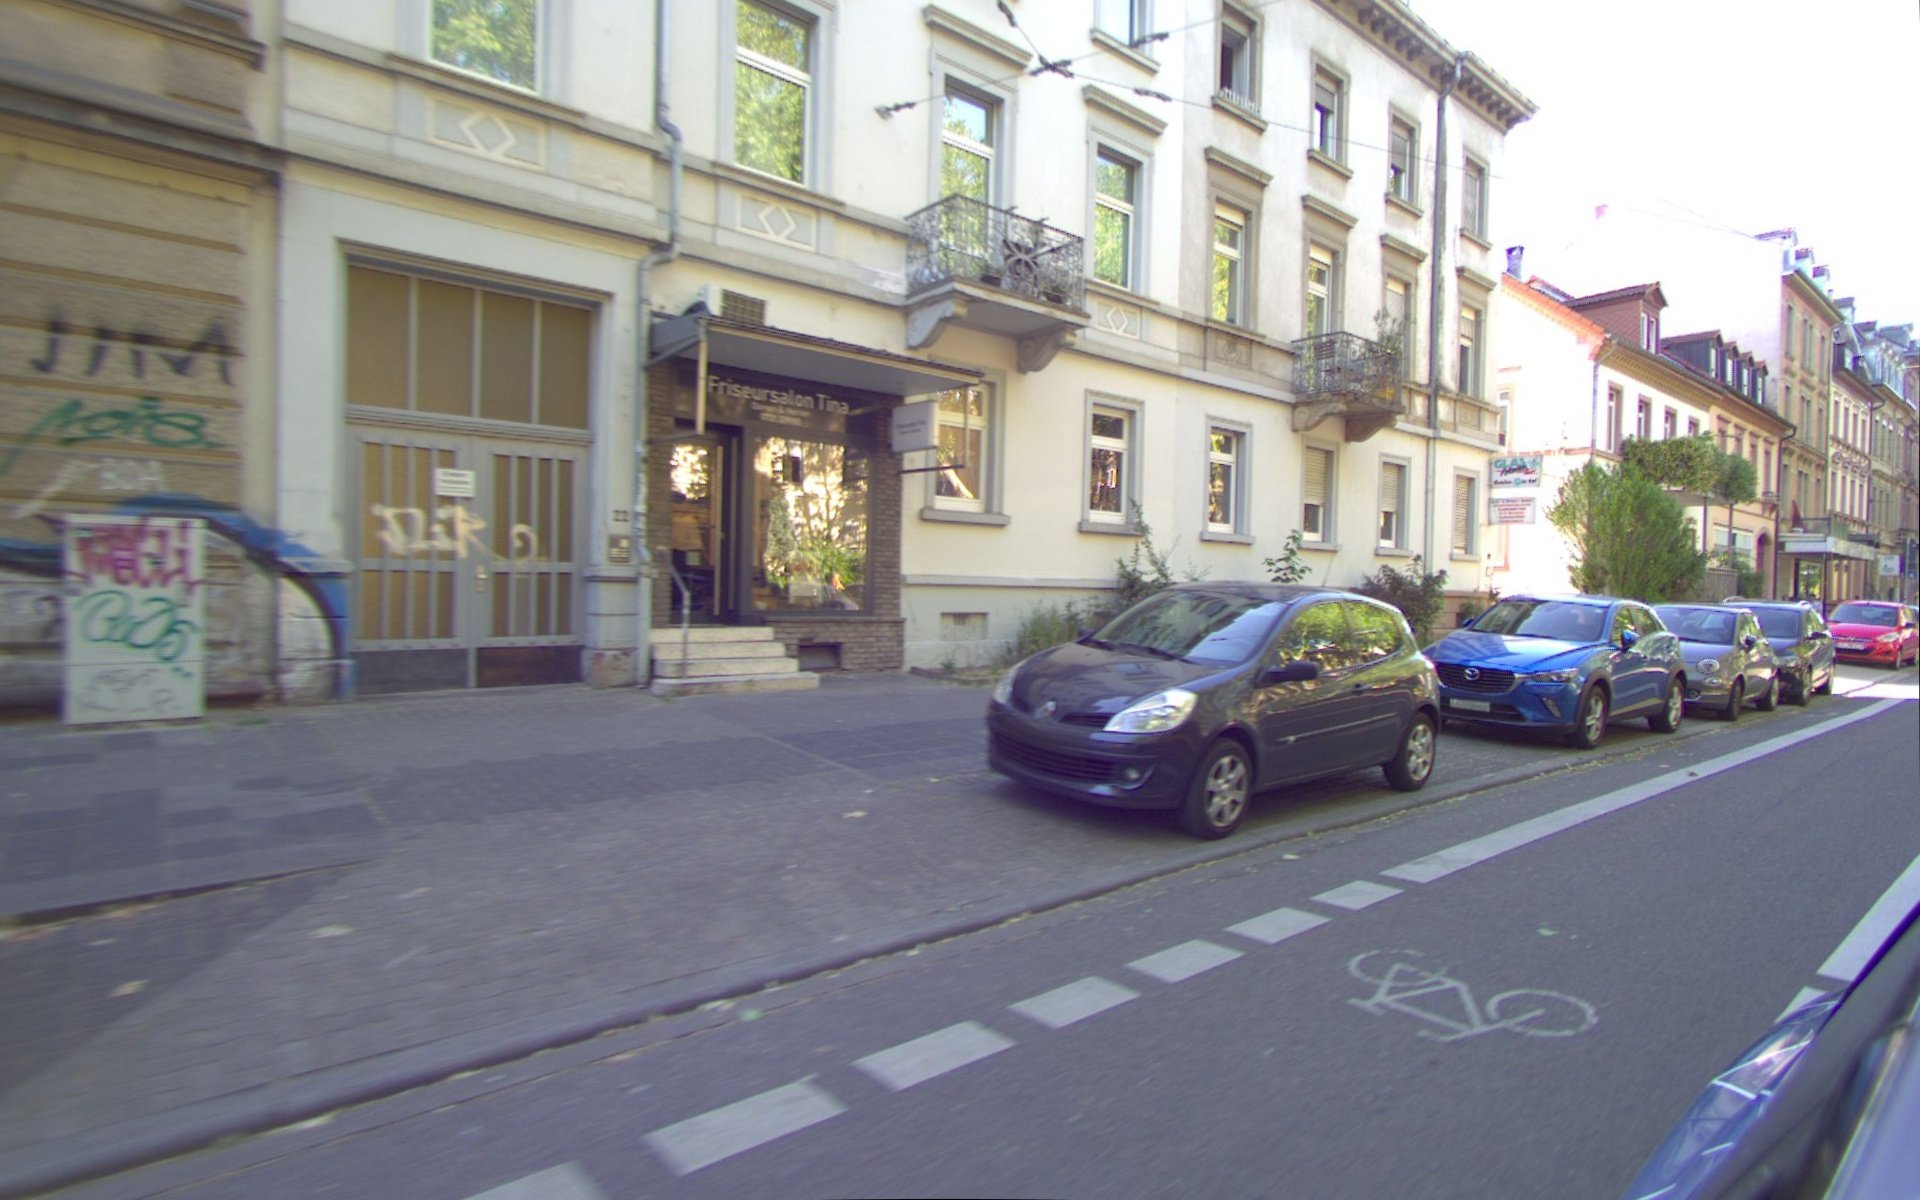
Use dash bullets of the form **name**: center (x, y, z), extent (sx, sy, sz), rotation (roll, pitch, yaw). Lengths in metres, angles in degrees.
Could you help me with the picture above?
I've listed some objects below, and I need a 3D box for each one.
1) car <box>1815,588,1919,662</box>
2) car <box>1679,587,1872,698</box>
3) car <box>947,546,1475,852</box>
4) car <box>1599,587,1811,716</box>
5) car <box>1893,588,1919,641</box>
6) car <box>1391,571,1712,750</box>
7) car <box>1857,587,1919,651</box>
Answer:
- **car**: center (22.158, 0.547, 24.351), extent (3.619, 1.587, 1.703), rotation (0, 3, -39)
- **car**: center (13.725, 0.628, 16.985), extent (3.619, 1.587, 1.730), rotation (0, 3, -39)
- **car**: center (1.942, 0.489, 7.223), extent (3.838, 1.523, 1.636), rotation (0, 6, -40)
- **car**: center (10.491, 0.631, 14.195), extent (3.298, 1.524, 1.543), rotation (0, 3, -39)
- **car**: center (30.621, 0.472, 31.542), extent (3.619, 1.587, 1.703), rotation (0, 3, -39)
- **car**: center (6.675, 0.547, 11.289), extent (3.836, 1.523, 1.731), rotation (0, 6, -39)
- **car**: center (26.043, 0.495, 27.621), extent (3.619, 1.587, 1.703), rotation (0, 3, -39)
